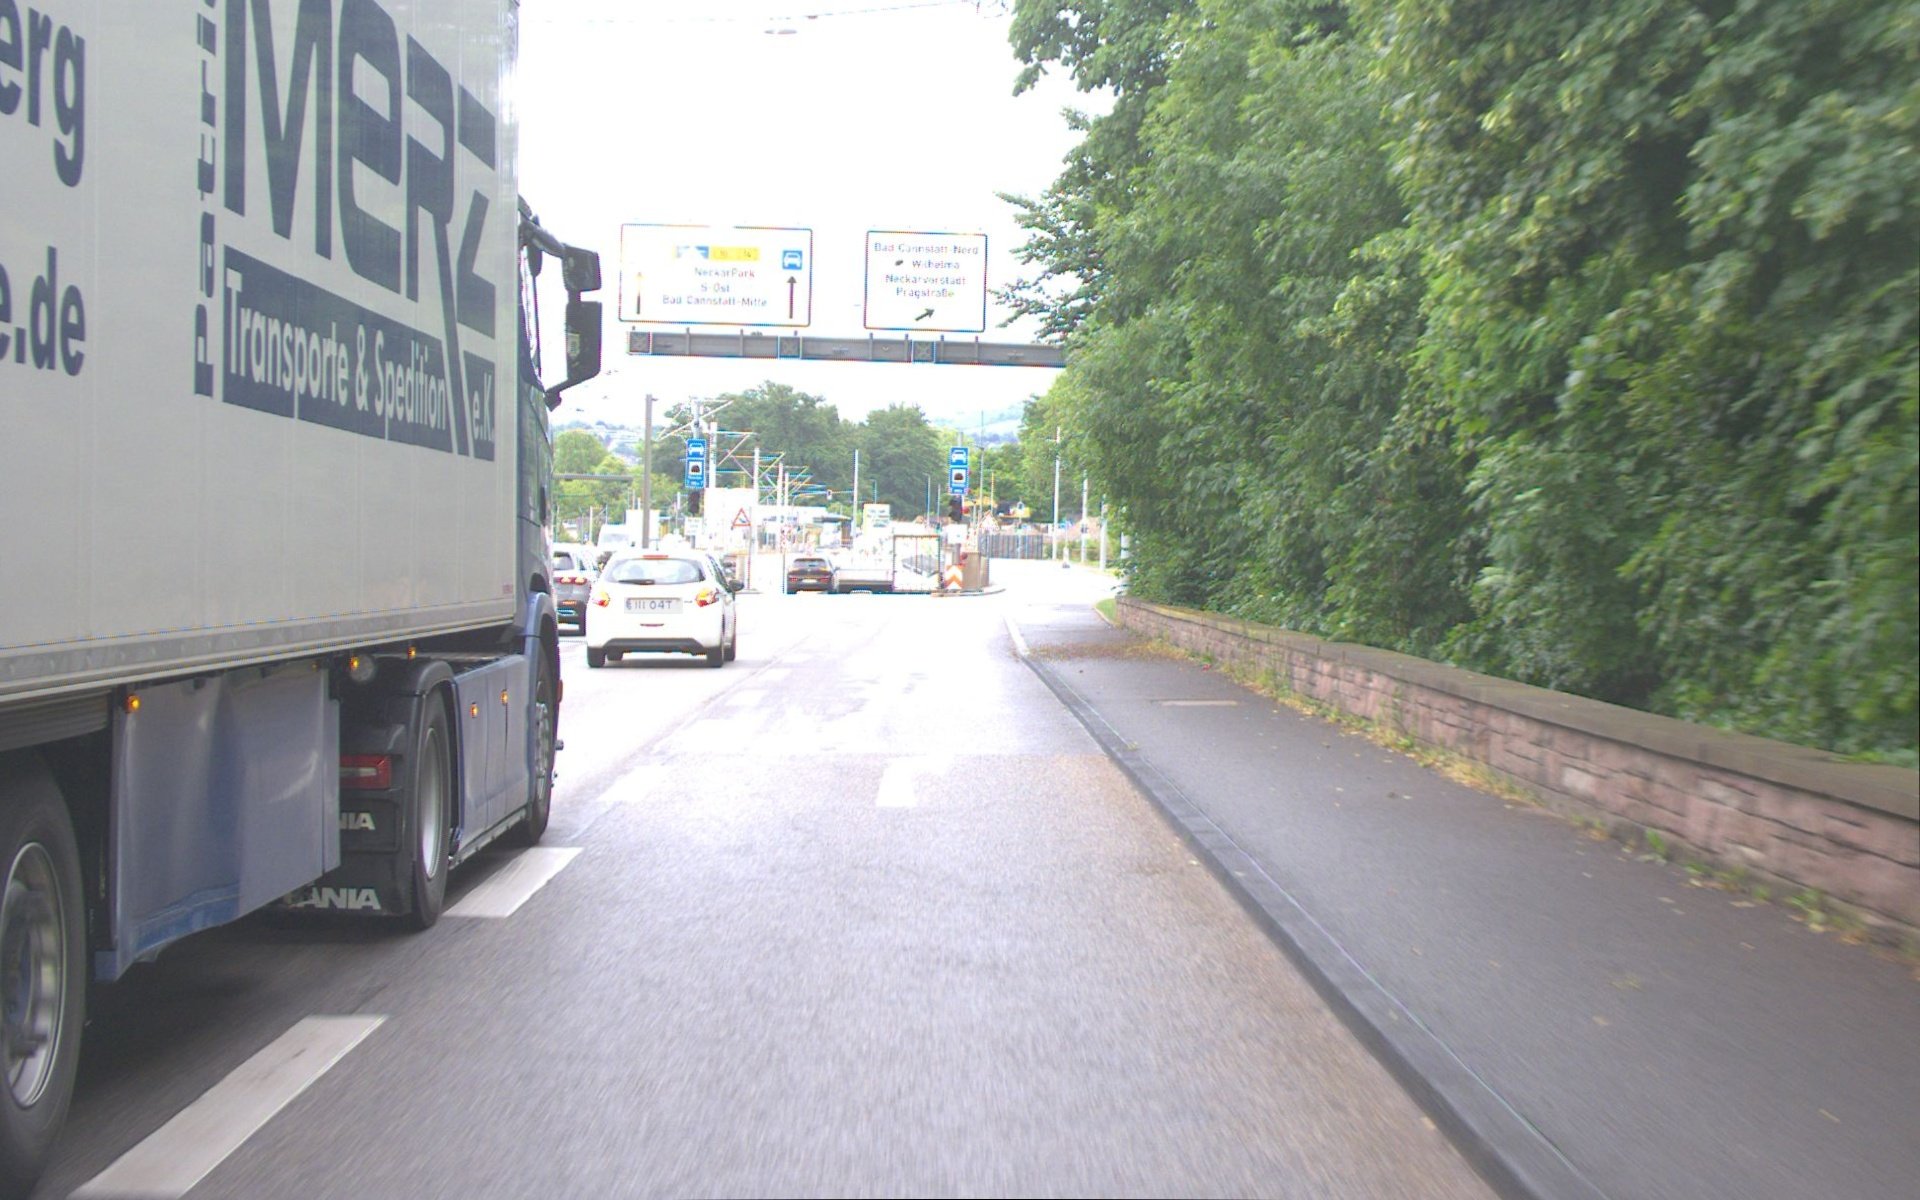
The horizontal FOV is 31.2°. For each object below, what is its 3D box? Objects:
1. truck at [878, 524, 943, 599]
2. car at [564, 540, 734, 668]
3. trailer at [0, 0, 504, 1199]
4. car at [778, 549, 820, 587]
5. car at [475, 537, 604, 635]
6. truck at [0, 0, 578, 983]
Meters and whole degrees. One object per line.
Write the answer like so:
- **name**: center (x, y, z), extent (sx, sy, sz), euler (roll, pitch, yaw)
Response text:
- **truck**: center (-2.707, -2.129, 190.930), extent (3.518, 4.026, 8.074), euler (1, 0, 0)
- **car**: center (-3.892, 0.019, 43.558), extent (1.810, 1.419, 4.001), euler (1, 2, -1)
- **trailer**: center (-3.307, -0.700, 8.286), extent (2.762, 4.238, 13.184), euler (0, 1, 0)
- **car**: center (-5.929, -1.198, 127.134), extent (1.426, 1.349, 2.960), euler (1, 1, -1)
- **car**: center (-6.918, -0.263, 56.857), extent (1.681, 1.441, 4.001), euler (1, 2, -1)
- **truck**: center (-3.376, -0.821, 15.081), extent (2.756, 4.190, 6.307), euler (0, 1, -1)
